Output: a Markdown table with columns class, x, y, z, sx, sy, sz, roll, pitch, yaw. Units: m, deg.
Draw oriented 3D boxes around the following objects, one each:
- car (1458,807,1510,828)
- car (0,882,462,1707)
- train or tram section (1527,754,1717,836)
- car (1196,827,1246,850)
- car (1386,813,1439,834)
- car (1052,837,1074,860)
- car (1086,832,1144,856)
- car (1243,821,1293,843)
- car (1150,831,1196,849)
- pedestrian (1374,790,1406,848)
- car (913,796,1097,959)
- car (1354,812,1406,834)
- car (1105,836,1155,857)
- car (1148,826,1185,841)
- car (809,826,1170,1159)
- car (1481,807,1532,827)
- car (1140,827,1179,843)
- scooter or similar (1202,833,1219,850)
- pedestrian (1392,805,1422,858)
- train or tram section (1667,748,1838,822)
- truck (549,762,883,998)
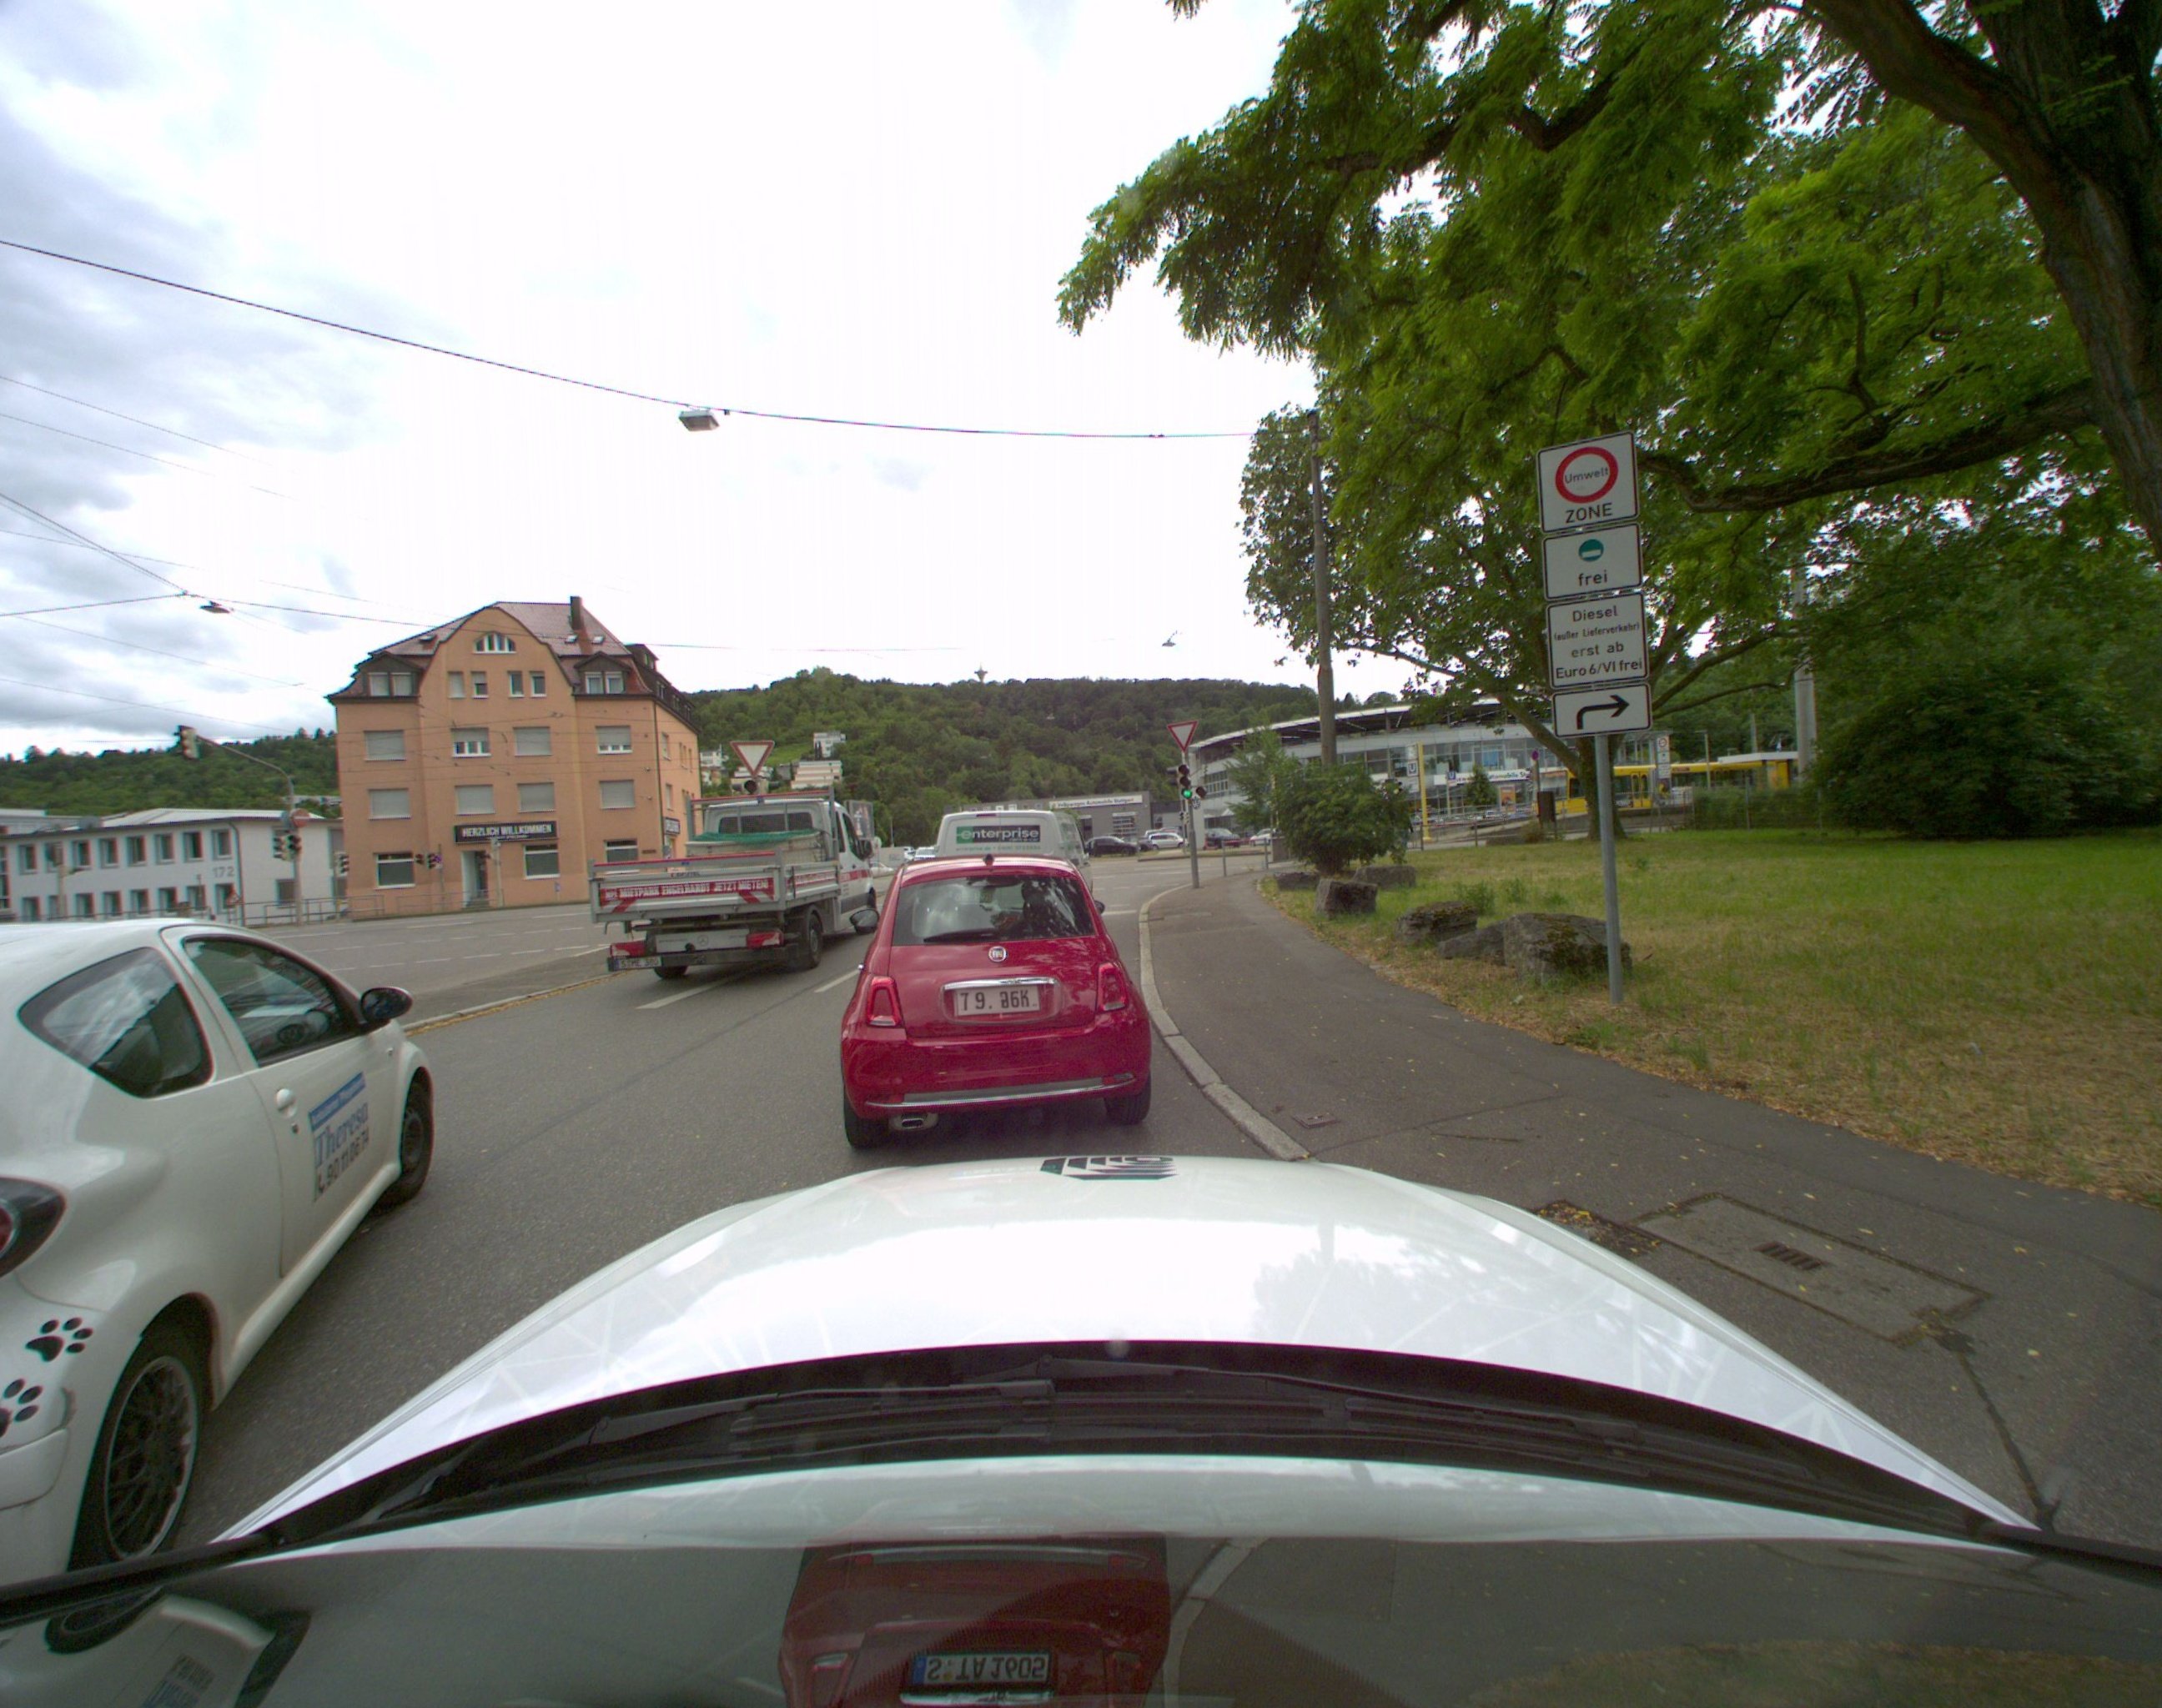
| class | x | y | z | sx | sy | sz | roll | pitch | yaw |
| --- | --- | --- | --- | --- | --- | --- | --- | --- | --- |
| car | 36.246 | -3.232 | 73.304 | 1.925 | 1.554 | 3.979 | -5 | 1 | -16 |
| car | -3.270 | 0.846 | 2.566 | 1.603 | 1.420 | 3.342 | 0 | -1 | -29 |
| train or tram section | 31.916 | -3.504 | 47.879 | 11.917 | 3.966 | 2.730 | -5 | 1 | -21 |
| car | 11.126 | -1.247 | 64.837 | 2.003 | 1.640 | 3.968 | -3 | 1 | -24 |
| car | 28.866 | -2.660 | 71.079 | 1.930 | 1.554 | 3.968 | -5 | 1 | -24 |
| car | -1.714 | -0.482 | 79.422 | 1.987 | 2.013 | 5.016 | -4 | -1 | 0 |
| car | 2.579 | -0.733 | 61.503 | 3.956 | 1.639 | 2.010 | -1 | 4 | 16 |
| car | 15.249 | -1.778 | 66.676 | 2.003 | 1.640 | 3.968 | 0 | -1 | -24 |
| car | 9.126 | -1.386 | 81.069 | 4.478 | 1.729 | 2.001 | 0 | -1 | 2 |
| pedestrian | 10.262 | -1.158 | 27.055 | 0.671 | 1.867 | 0.600 | -3 | 0 | -19 |
| car | -0.918 | 0.209 | 12.667 | 1.989 | 2.040 | 4.839 | 0 | 2 | 5 |
| car | 25.586 | -2.634 | 69.814 | 1.930 | 1.554 | 3.968 | -5 | 1 | -24 |
| car | 4.183 | -0.656 | 70.121 | 3.982 | 1.706 | 1.996 | 0 | -1 | -7 |
| car | 10.542 | -2.559 | 100.473 | 4.478 | 1.729 | 2.001 | 0 | -1 | 2 |
| car | -0.676 | 0.603 | 5.836 | 1.696 | 1.525 | 3.989 | 0 | 1 | -8 |
| car | 38.734 | -3.368 | 74.288 | 1.925 | 1.554 | 3.979 | 0 | -1 | -16 |
| car | 9.289 | -2.220 | 96.174 | 4.478 | 1.729 | 2.001 | 0 | -1 | 2 |
| scooter or similar | 9.921 | -0.942 | 62.258 | 1.197 | 1.288 | 0.575 | 0 | -1 | -2 |
| pedestrian | 10.562 | -0.732 | 26.398 | 0.671 | 1.689 | 0.600 | 0 | -1 | -19 |
| train or tram section | 43.041 | -4.451 | 52.106 | 11.917 | 3.966 | 2.730 | -5 | 1 | -21 |
| truck | -4.637 | 0.203 | 11.673 | 2.308 | 2.421 | 5.649 | -4 | 2 | -3 |
